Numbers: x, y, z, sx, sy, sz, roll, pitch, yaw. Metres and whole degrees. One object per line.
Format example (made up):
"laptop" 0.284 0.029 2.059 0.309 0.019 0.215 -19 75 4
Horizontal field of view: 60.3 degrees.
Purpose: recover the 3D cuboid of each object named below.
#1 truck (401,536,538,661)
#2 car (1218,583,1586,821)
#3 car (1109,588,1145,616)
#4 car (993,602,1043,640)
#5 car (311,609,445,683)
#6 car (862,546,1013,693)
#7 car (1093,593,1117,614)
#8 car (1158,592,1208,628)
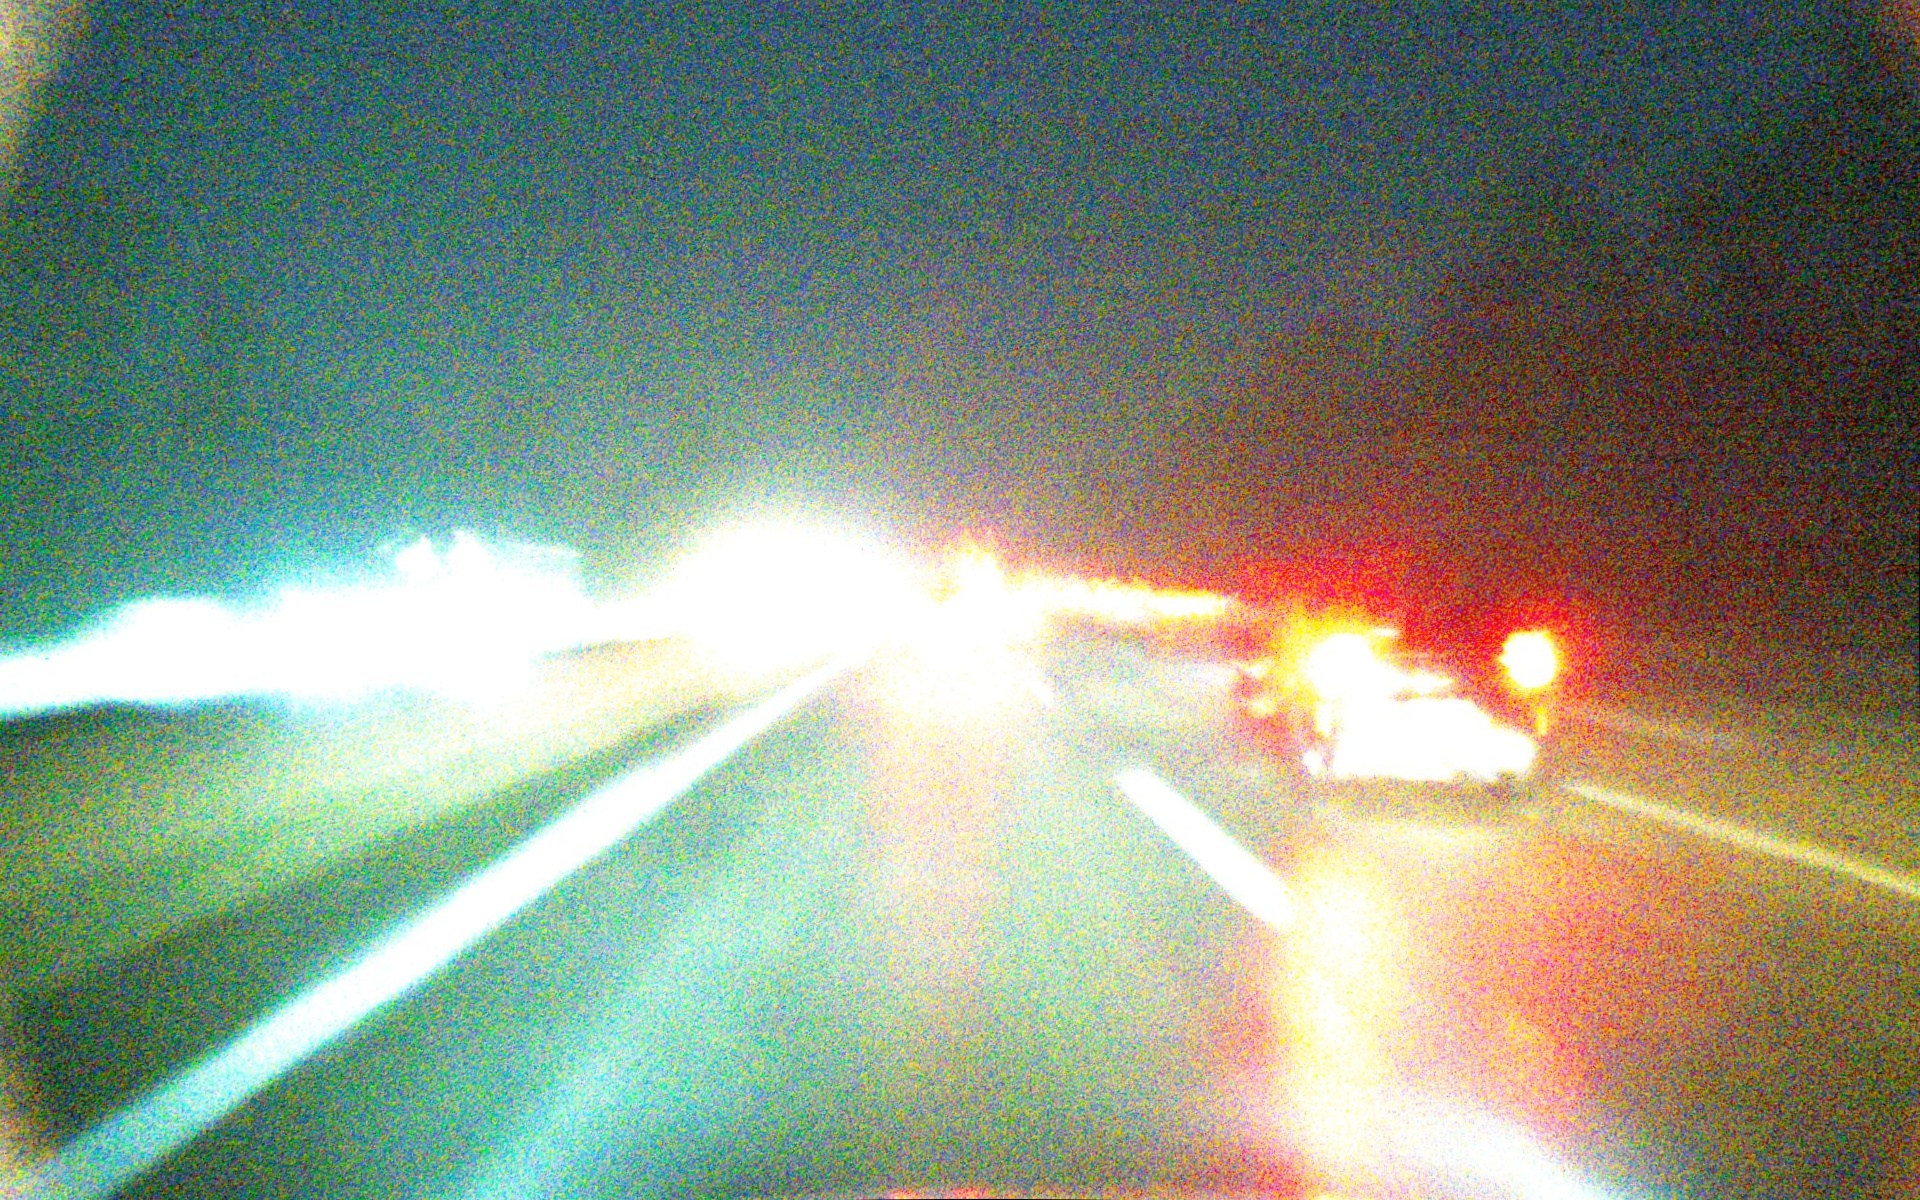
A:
"truck" -17.551 -0.080 59.635 2.862 4.166 6.992 -1 0 -1
"car" 3.361 0.697 13.399 1.846 1.616 3.999 1 0 -1
"car" 10.529 0.131 104.433 1.818 1.646 3.999 1 0 -1
"car" 2.610 0.919 74.895 2.093 1.646 4.000 1 0 0
"car" -13.524 1.034 38.664 1.760 1.601 3.973 -1 0 -1
"car" -0.511 0.323 32.868 2.655 2.578 5.828 -2 1 -2
"car" 11.146 0.255 127.311 1.677 1.585 4.002 1 0 3
"car" 10.688 0.473 79.502 1.818 1.646 4.000 1 0 0
